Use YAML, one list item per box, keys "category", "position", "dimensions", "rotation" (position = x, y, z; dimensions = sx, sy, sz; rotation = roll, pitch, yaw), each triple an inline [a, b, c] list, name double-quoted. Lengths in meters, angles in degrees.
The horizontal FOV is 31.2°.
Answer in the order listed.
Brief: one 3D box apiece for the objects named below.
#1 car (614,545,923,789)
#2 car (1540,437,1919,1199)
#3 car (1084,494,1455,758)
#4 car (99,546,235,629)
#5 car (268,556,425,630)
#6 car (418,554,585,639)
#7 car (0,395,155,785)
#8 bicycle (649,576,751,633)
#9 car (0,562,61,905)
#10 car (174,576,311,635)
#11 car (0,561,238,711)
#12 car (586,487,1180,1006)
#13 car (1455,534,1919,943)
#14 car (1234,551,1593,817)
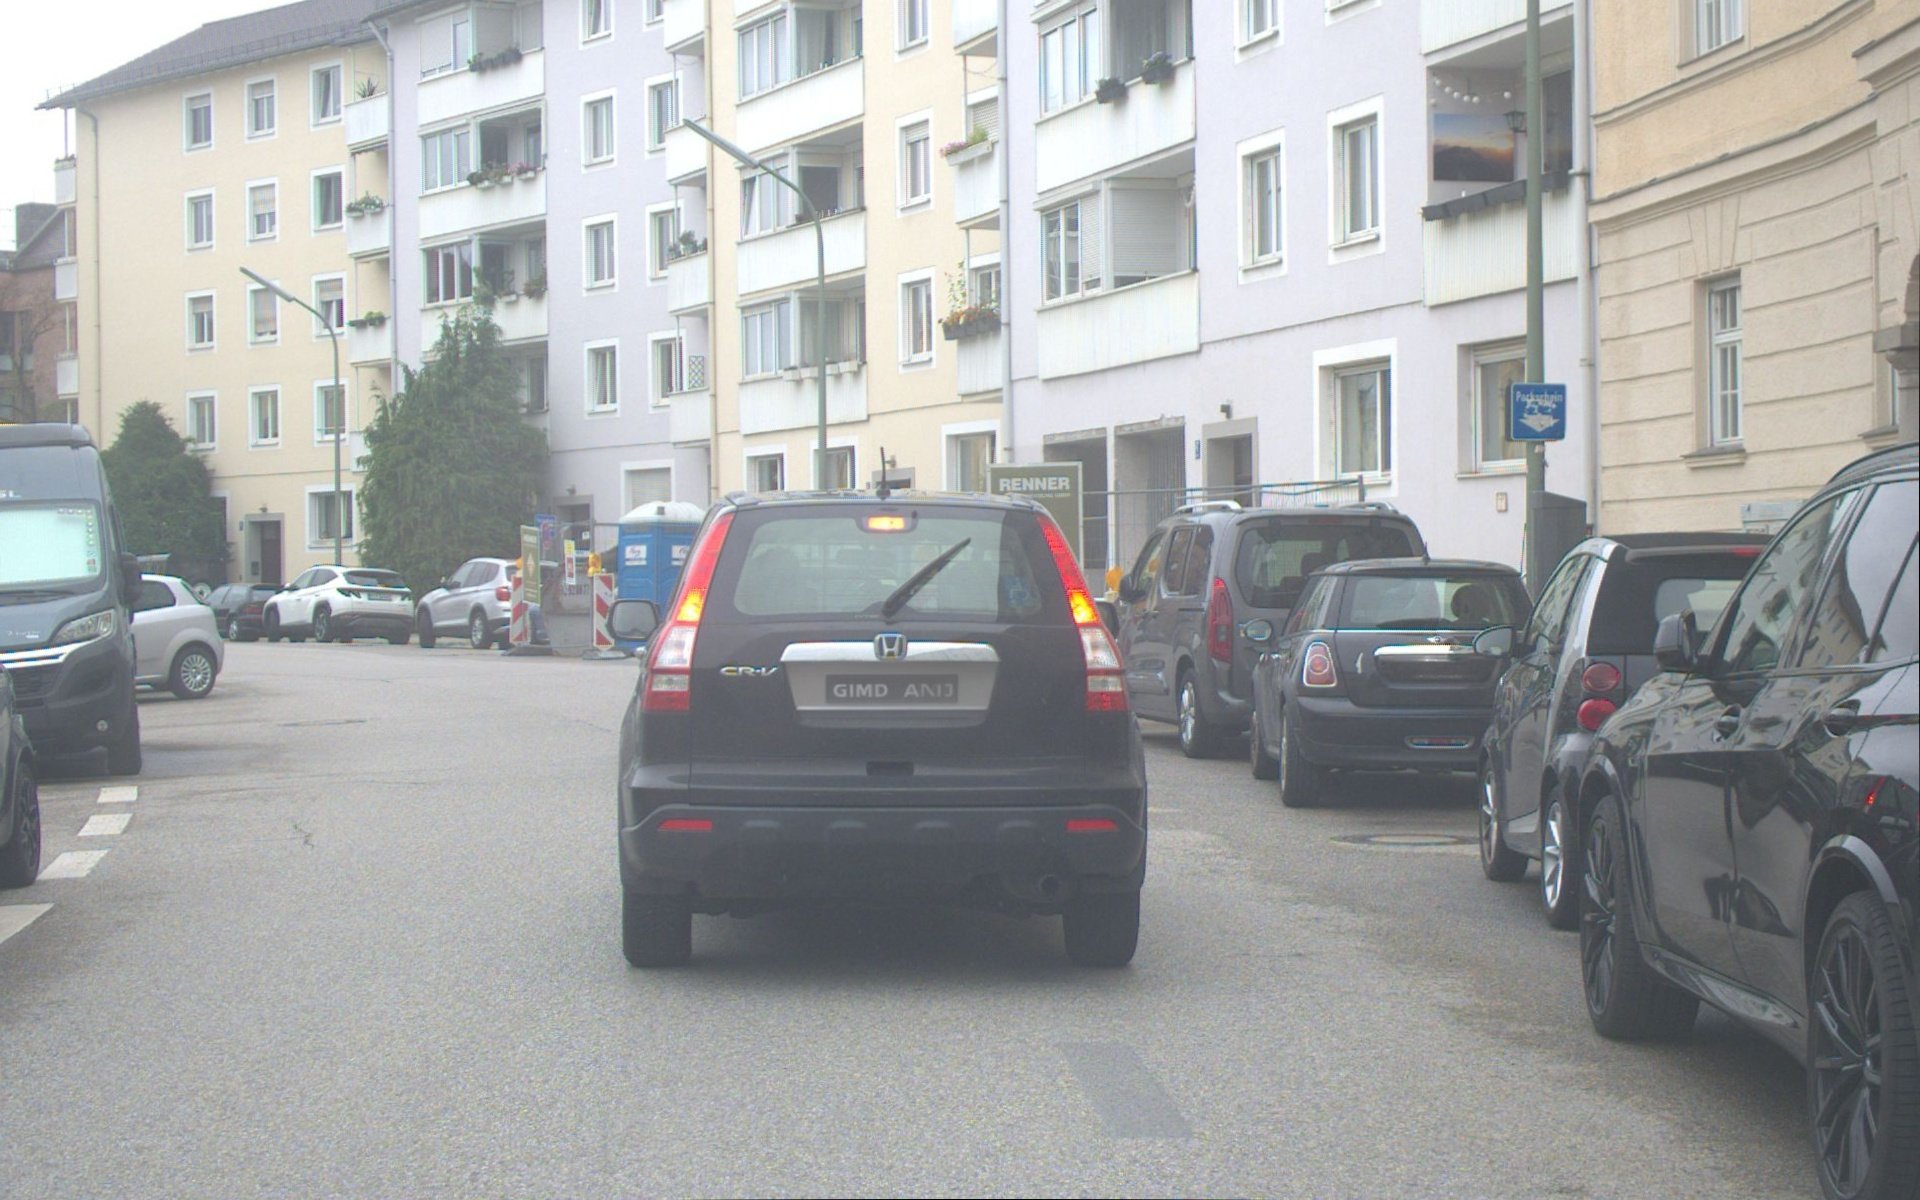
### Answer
- category: "car"
  position: [-1.374, 0.387, 23.157]
  dimensions: [1.678, 1.476, 4.087]
  rotation: [0, 1, -9]
- category: "car"
  position: [2.829, 0.524, 8.710]
  dimensions: [1.869, 1.711, 4.865]
  rotation: [1, 1, 0]
- category: "car"
  position: [2.215, 0.157, 25.798]
  dimensions: [1.777, 1.800, 4.277]
  rotation: [1, 1, -9]
- category: "car"
  position: [-18.279, -0.310, 79.152]
  dimensions: [1.724, 1.871, 4.000]
  rotation: [0, 1, -34]
- category: "car"
  position: [-12.737, -0.164, 71.187]
  dimensions: [1.724, 1.478, 4.000]
  rotation: [0, 1, -34]
- category: "car"
  position: [-8.353, -0.080, 62.390]
  dimensions: [1.724, 1.478, 4.001]
  rotation: [0, 1, -28]
- category: "car"
  position: [-7.367, -0.096, 26.283]
  dimensions: [2.163, 2.632, 6.019]
  rotation: [-2, 1, -14]
- category: "bicycle"
  position: [-5.070, 0.091, 67.022]
  dimensions: [1.865, 1.087, 0.646]
  rotation: [-1, 1, -22]
- category: "car"
  position: [-5.079, 0.614, 15.179]
  dimensions: [1.670, 1.497, 2.978]
  rotation: [-2, 1, -6]
- category: "car"
  position: [-15.746, 0.105, 75.350]
  dimensions: [1.697, 1.232, 3.602]
  rotation: [0, 1, -34]
- category: "car"
  position: [-10.269, 0.447, 38.367]
  dimensions: [1.683, 1.476, 4.078]
  rotation: [-4, 0, 39]
- category: "car"
  position: [-0.366, 0.444, 12.991]
  dimensions: [1.890, 1.642, 3.992]
  rotation: [0, 1, -4]
- category: "car"
  position: [3.058, 0.504, 14.473]
  dimensions: [1.535, 1.518, 3.110]
  rotation: [1, 1, 1]
- category: "car"
  position: [2.664, 0.443, 20.941]
  dimensions: [1.708, 1.442, 3.830]
  rotation: [1, 1, 1]
